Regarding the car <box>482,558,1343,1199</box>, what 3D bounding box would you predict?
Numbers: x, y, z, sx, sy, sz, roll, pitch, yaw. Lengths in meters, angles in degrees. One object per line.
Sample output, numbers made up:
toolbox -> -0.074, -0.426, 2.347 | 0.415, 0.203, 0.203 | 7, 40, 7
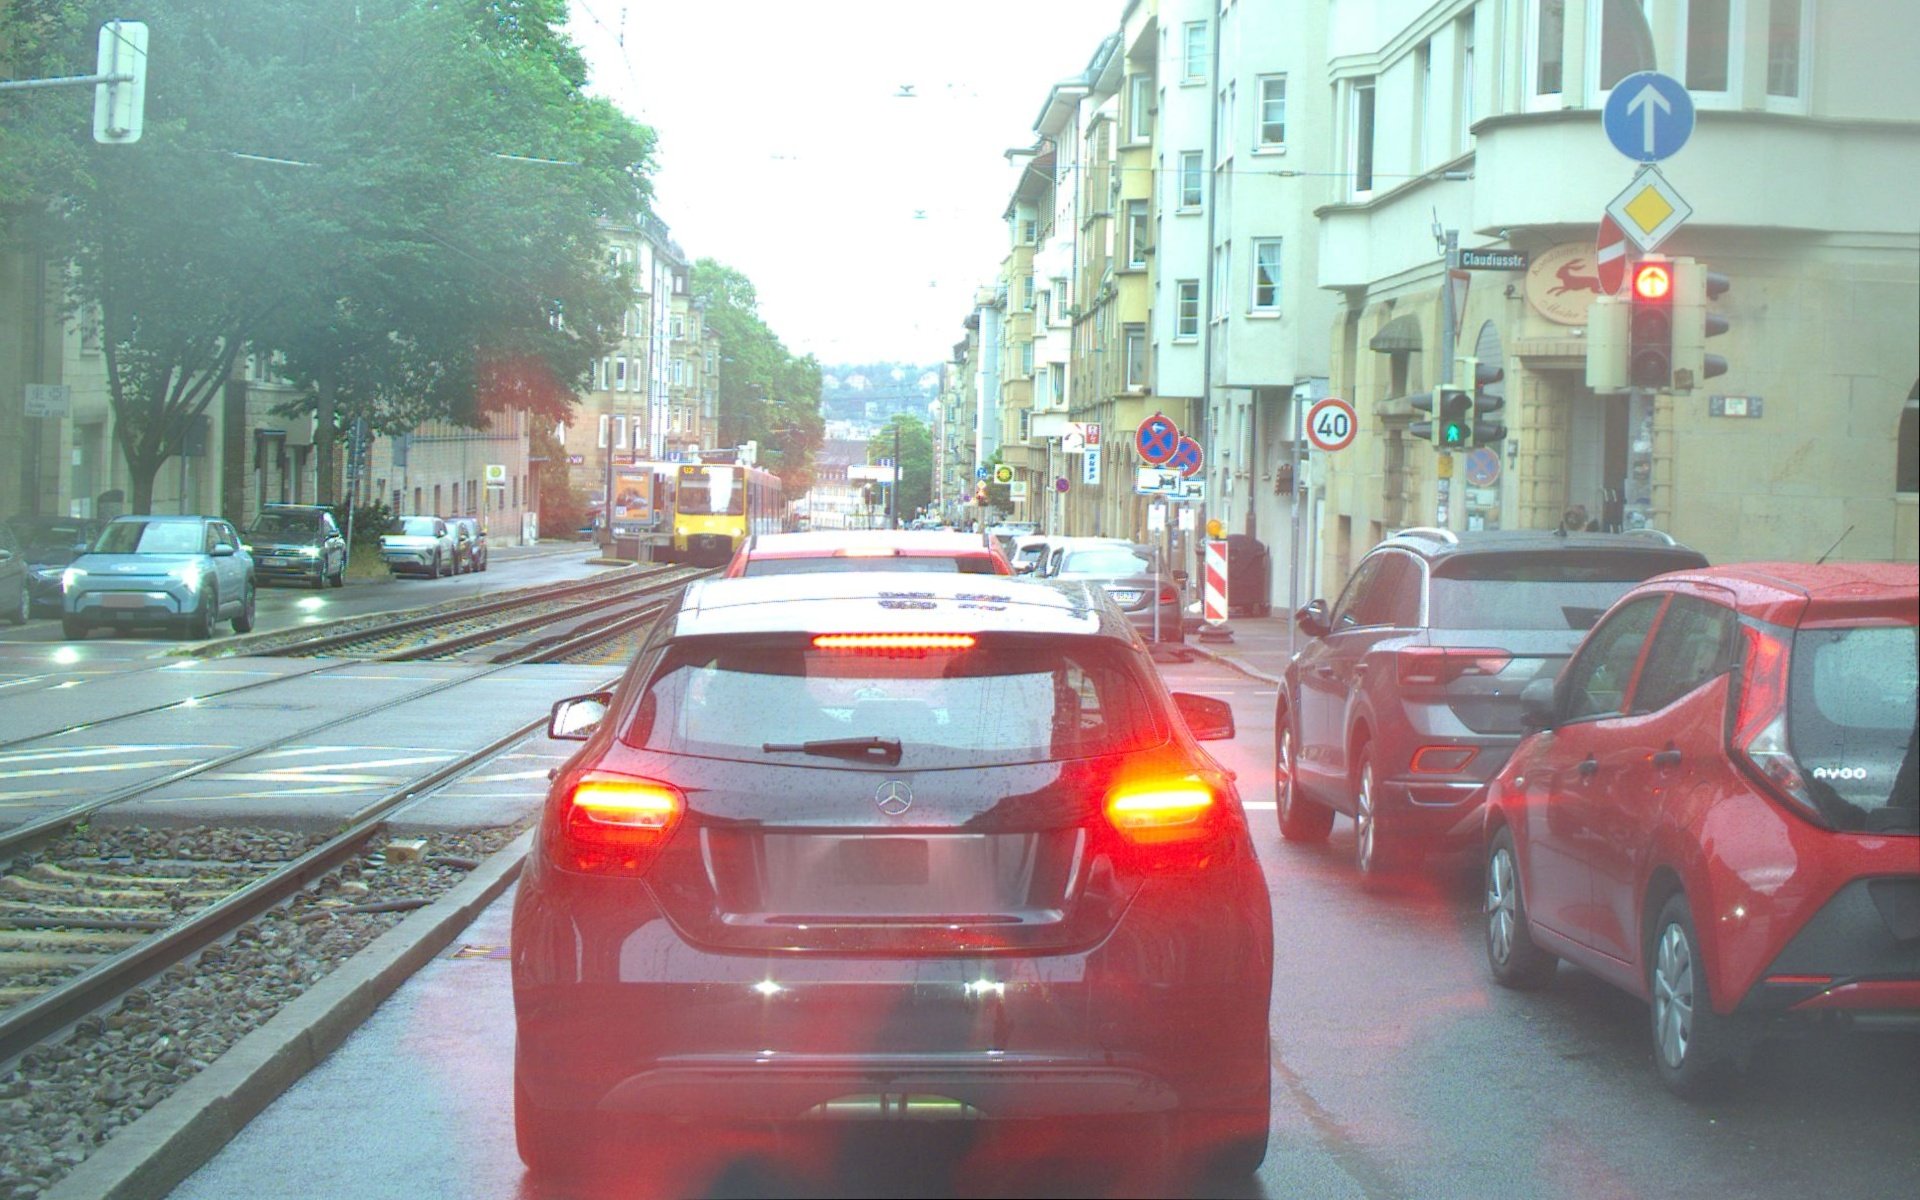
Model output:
car -> -0.129, 0.642, 9.456 | 1.829, 1.453, 4.104 | 1, 1, -1

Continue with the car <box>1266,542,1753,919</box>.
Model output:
car -> 2.384, 0.495, 15.762 | 1.544, 1.481, 3.830 | 1, 1, -1

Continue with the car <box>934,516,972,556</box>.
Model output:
car -> -0.279, -2.724, 146.744 | 1.544, 1.630, 3.686 | 1, 1, 1

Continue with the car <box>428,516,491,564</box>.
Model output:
car -> -14.333, -1.719, 98.575 | 1.448, 1.326, 3.272 | 1, 0, -2

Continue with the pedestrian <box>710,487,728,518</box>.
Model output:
pedestrian -> -15.678, -6.332, 223.460 | 1.053, 1.951, 1.043 | 2, 1, 1

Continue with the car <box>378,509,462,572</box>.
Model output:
car -> -13.991, -1.533, 89.165 | 1.589, 1.575, 3.918 | 1, 0, -1

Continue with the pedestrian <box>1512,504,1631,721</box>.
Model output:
pedestrian -> 5.026, 0.100, 28.306 | 0.741, 1.742, 1.111 | 1, 0, -1

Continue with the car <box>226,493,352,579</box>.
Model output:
car -> -13.954, -1.319, 71.702 | 1.875, 1.731, 3.918 | 1, 0, -1

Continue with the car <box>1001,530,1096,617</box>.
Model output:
car -> 1.555, -0.485, 61.524 | 1.544, 1.481, 3.548 | 1, 1, -1

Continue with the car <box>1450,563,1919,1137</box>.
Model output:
car -> 2.647, 0.638, 10.524 | 1.642, 1.443, 3.299 | 1, 1, -3

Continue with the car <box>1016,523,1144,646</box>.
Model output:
car -> 1.612, -0.234, 47.115 | 1.544, 1.585, 3.548 | 1, 1, -1

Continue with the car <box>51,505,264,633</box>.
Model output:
car -> -10.458, -0.410, 45.079 | 1.898, 1.582, 3.973 | 1, 0, -1

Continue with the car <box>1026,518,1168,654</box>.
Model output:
car -> 1.668, -0.198, 42.639 | 1.544, 1.585, 3.548 | 1, 1, -1

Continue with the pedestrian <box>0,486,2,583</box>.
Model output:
pedestrian -> -16.870, -1.136, 59.165 | 0.631, 1.667, 0.703 | 1, 0, -7

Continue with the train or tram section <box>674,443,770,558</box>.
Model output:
train or tram section -> -8.422, -3.463, 122.815 | 2.783, 3.847, 10.430 | 1, 0, -1

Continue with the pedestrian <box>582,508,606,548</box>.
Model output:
pedestrian -> -18.522, -3.643, 174.034 | 1.053, 1.951, 1.043 | 2, 1, 1

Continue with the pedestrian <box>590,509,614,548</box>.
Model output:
pedestrian -> -18.266, -3.653, 175.488 | 1.053, 1.951, 1.043 | 2, 1, 1

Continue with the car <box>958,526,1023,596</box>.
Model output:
car -> 0.637, -0.842, 73.593 | 1.294, 1.437, 2.929 | 1, 1, -1

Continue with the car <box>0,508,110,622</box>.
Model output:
car -> -13.735, -0.516, 50.723 | 1.716, 1.605, 3.919 | 1, 0, -5

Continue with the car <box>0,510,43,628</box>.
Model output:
car -> -13.483, -0.429, 45.693 | 1.752, 1.547, 4.036 | 1, 0, -4

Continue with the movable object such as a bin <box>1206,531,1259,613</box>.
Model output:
movable object such as a bin -> 4.713, -0.487, 59.571 | 0.878, 1.384, 0.982 | 1, 0, 3

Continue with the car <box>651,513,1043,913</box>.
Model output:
car -> -0.481, 0.441, 15.843 | 1.565, 1.604, 3.814 | 1, 0, -1
